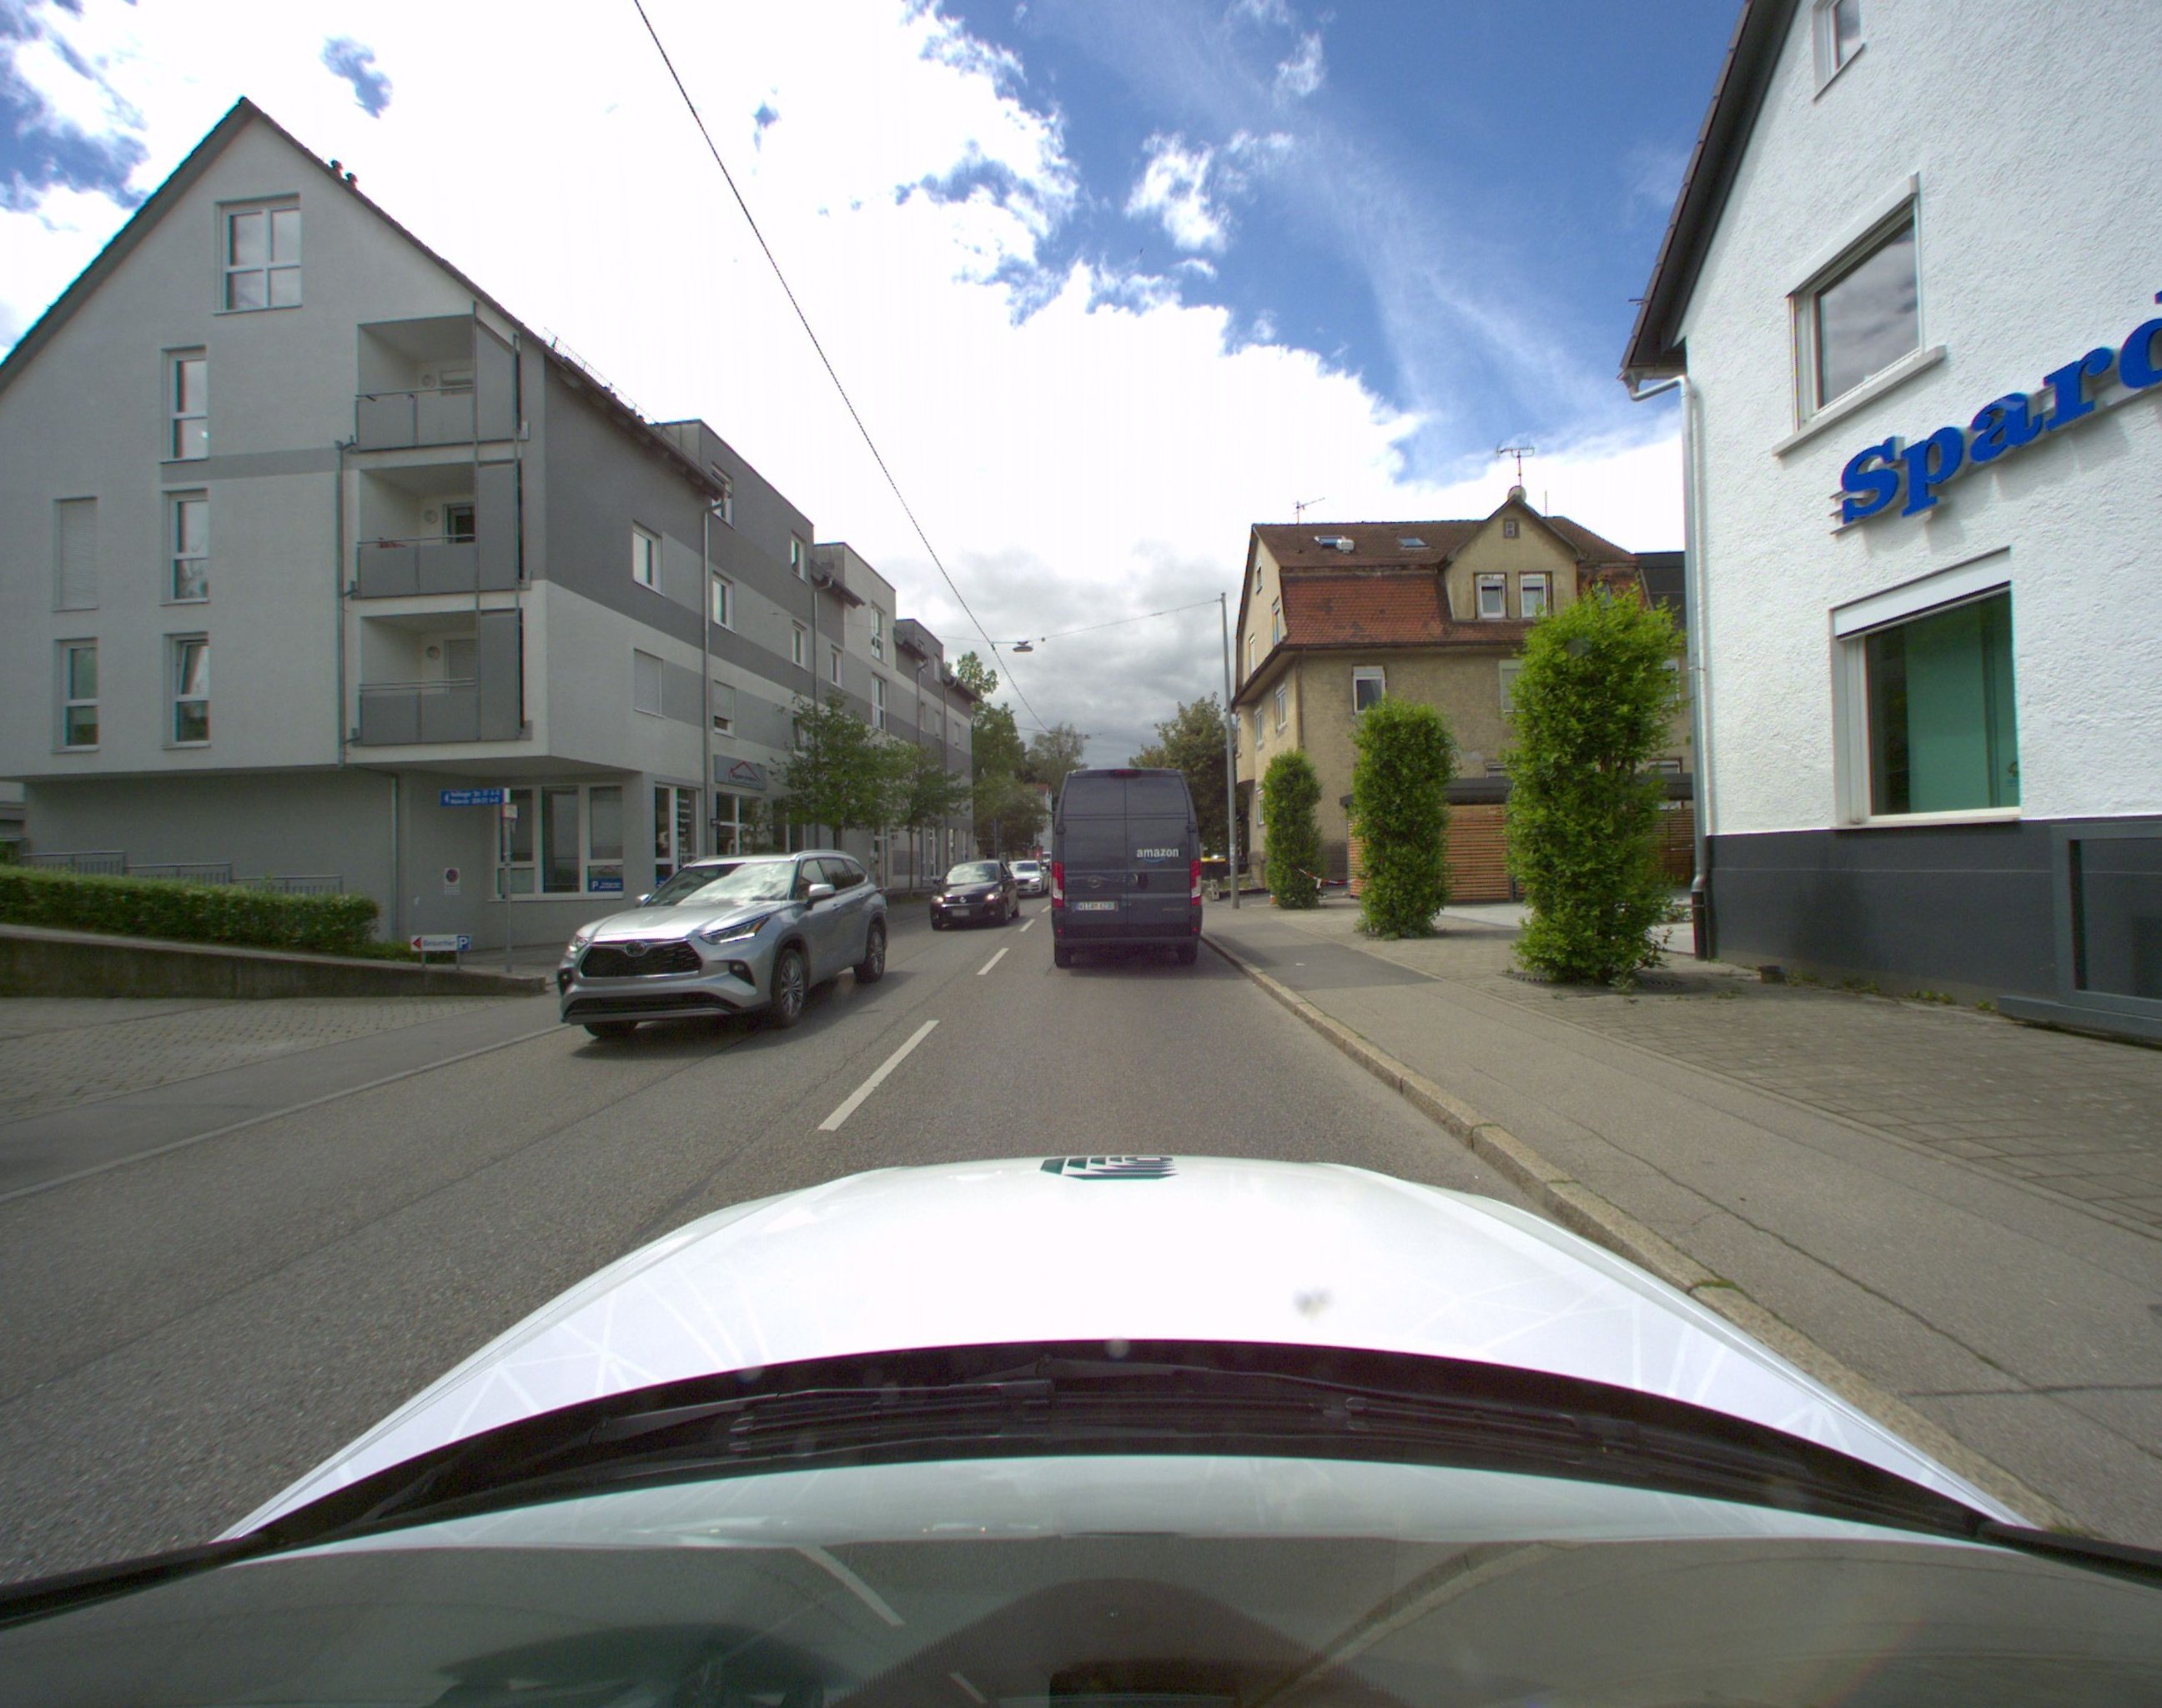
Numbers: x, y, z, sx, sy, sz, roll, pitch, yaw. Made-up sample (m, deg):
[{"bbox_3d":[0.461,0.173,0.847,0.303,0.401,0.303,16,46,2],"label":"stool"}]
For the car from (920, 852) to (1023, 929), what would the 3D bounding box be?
[{"bbox_3d":[-2.540,0.810,19.908,1.825,1.584,4.038,-3,0,1],"label":"car"}]

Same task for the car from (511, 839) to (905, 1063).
[{"bbox_3d":[-3.635,0.825,9.185,1.979,1.737,4.798,-4,-1,2],"label":"car"}]

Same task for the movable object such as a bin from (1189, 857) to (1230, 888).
[{"bbox_3d":[5.361,0.759,33.966,1.189,1.266,1.198,-1,-1,-28],"label":"movable object such as a bin"}]

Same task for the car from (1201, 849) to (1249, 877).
[{"bbox_3d":[9.259,0.568,52.065,1.735,1.517,4.104,-5,-1,28],"label":"car"}]

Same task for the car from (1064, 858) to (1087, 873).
[{"bbox_3d":[-0.472,1.090,77.504,1.866,1.424,4.119,-1,0,3],"label":"car"}]

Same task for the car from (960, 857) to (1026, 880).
[{"bbox_3d":[-5.940,0.983,55.308,4.194,1.513,1.824,0,1,3],"label":"car"}]

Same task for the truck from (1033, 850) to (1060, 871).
[{"bbox_3d":[-4.061,0.738,96.427,2.213,2.380,6.337,-1,-1,6],"label":"truck"}]

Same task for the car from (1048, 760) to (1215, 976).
[{"bbox_3d":[0.670,0.195,13.719,2.141,2.770,6.248,-1,0,0],"label":"car"}]

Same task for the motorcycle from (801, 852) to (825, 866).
[{"bbox_3d":[-19.221,0.374,58.451,1.201,1.004,2.331,0,0,-9],"label":"motorcycle"}]

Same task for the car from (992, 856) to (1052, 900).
[{"bbox_3d":[-2.370,0.926,33.745,1.890,1.559,4.802,-4,0,2],"label":"car"}]
